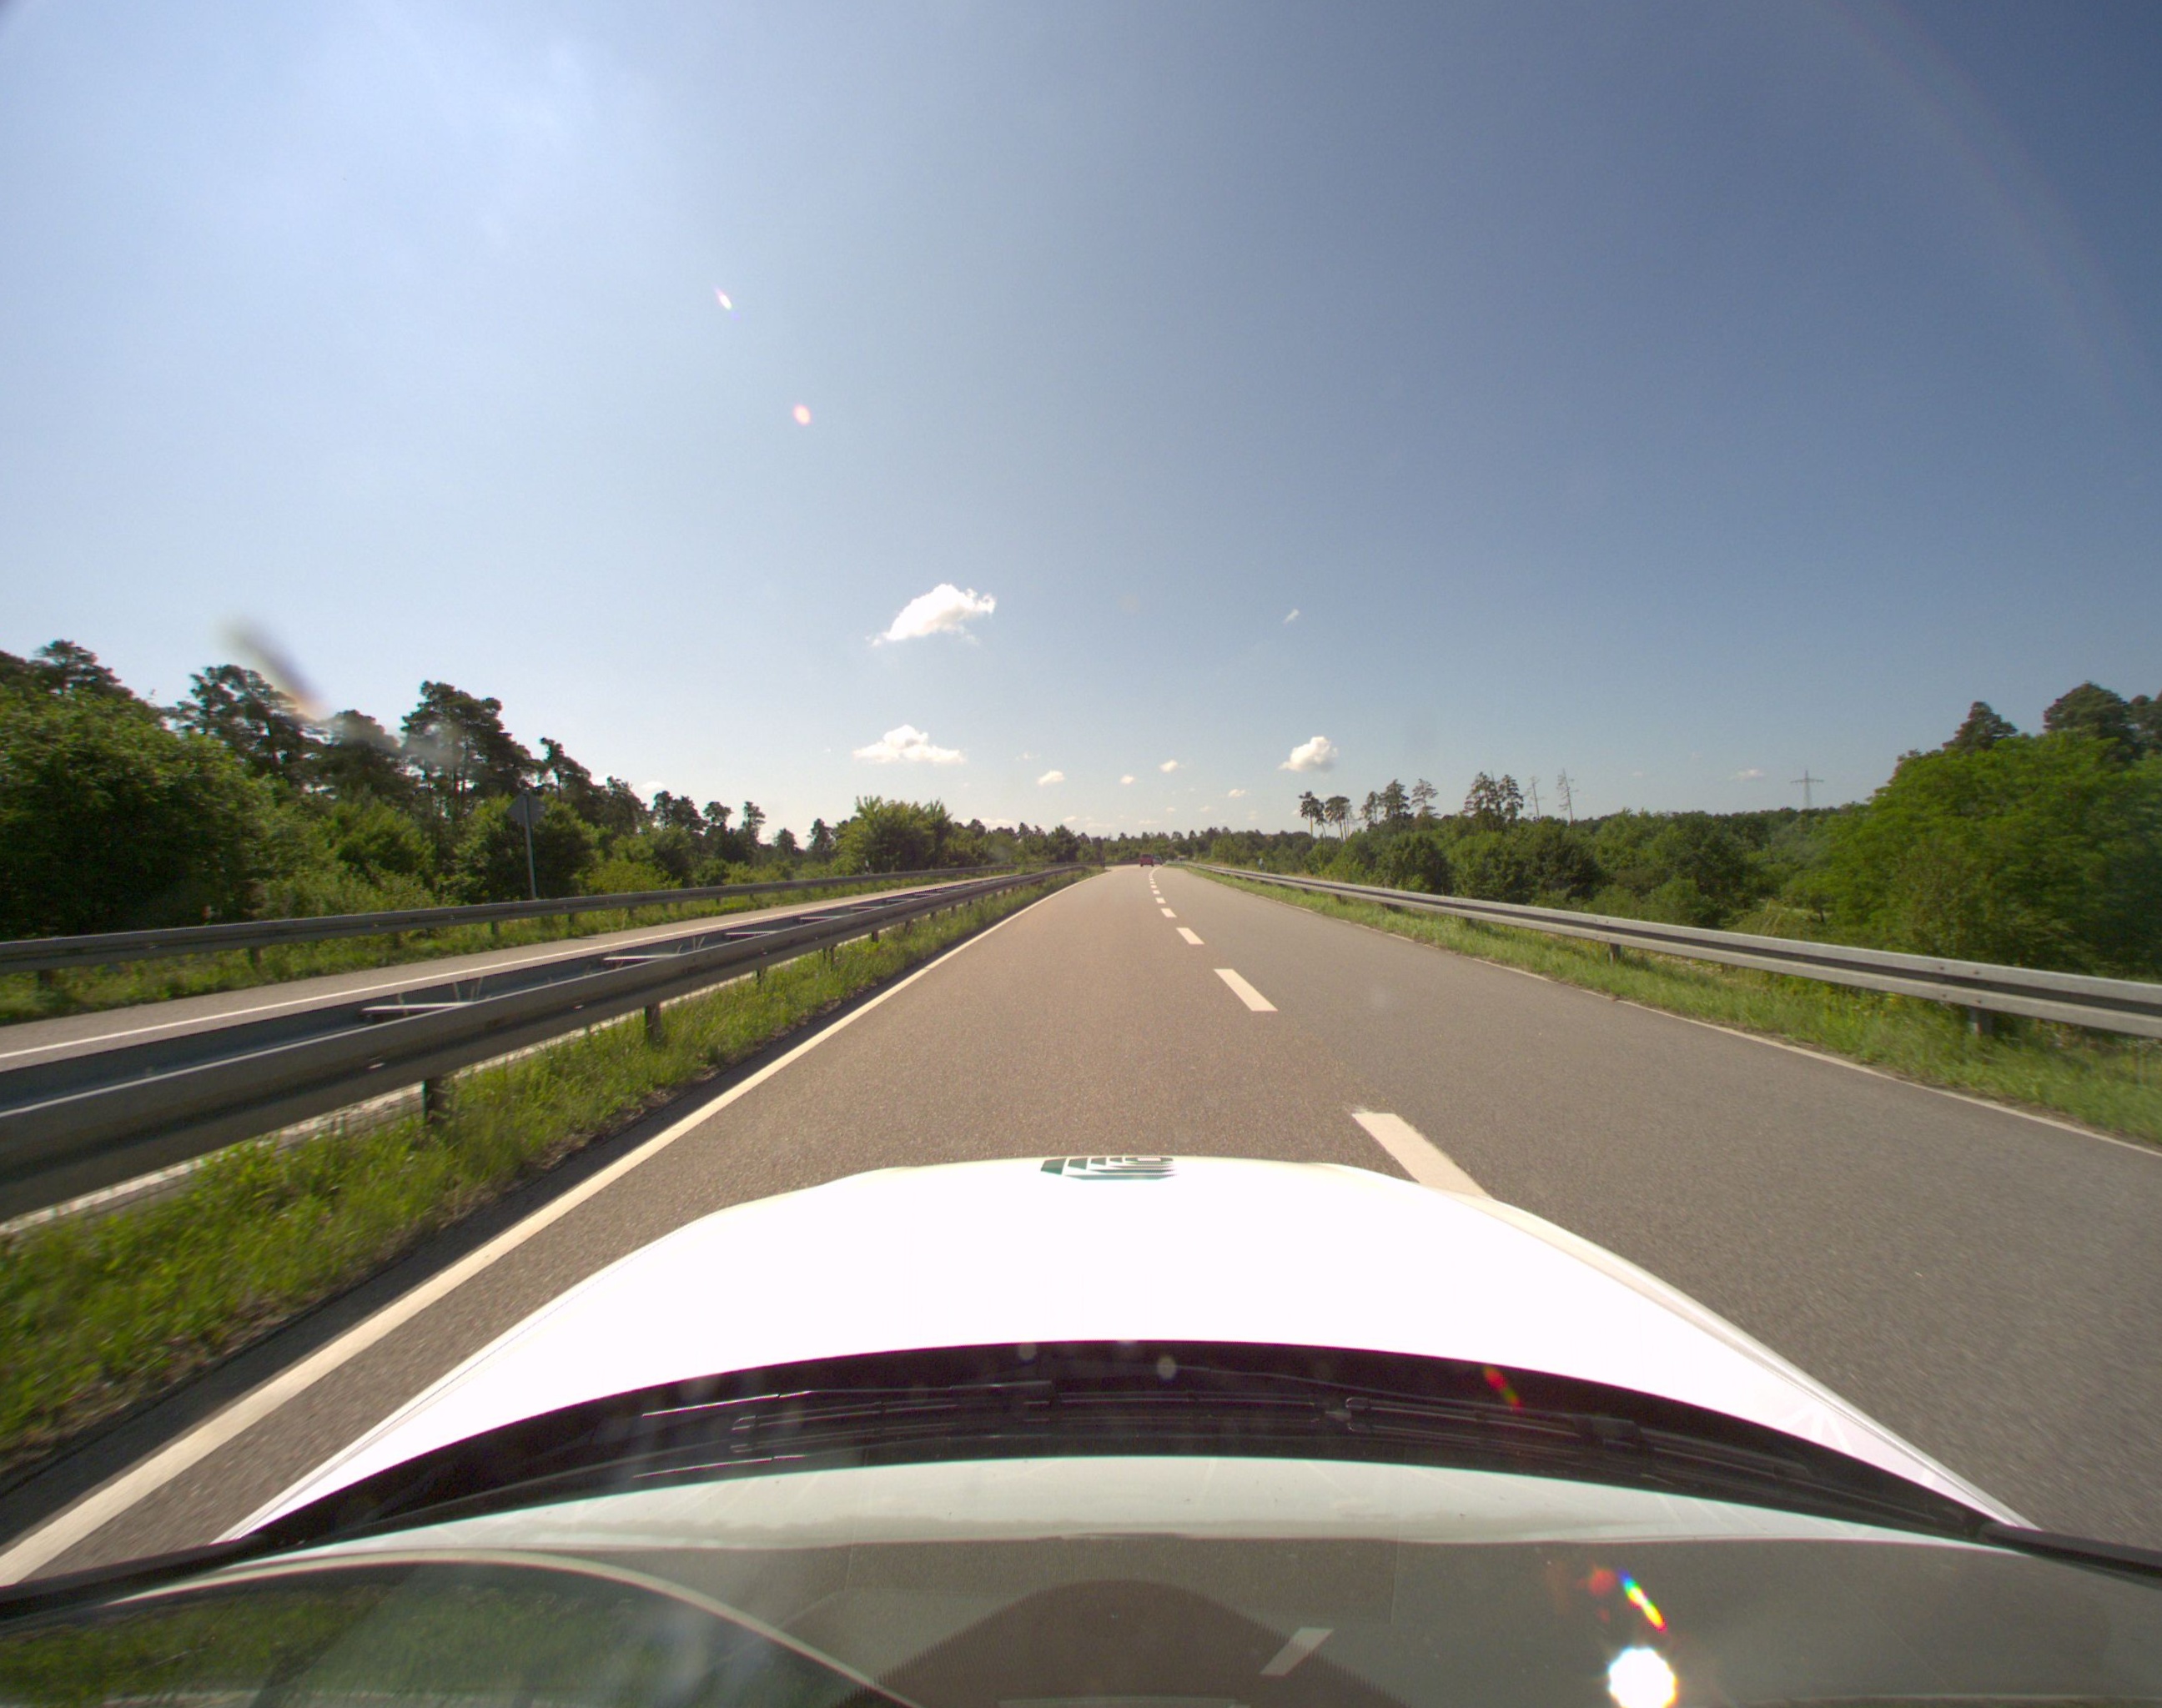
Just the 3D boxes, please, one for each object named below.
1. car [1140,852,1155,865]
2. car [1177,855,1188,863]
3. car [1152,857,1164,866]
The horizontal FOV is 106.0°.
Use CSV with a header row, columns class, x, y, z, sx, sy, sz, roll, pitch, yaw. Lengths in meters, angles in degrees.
class,x,y,z,sx,sy,sz,roll,pitch,yaw
car,9.868,0.689,120.889,2.066,1.993,5.121,0,-1,7
car,24.335,1.272,195.808,2.170,1.955,5.822,0,-1,12
car,13.521,1.284,142.535,1.996,1.494,4.247,0,-1,7
